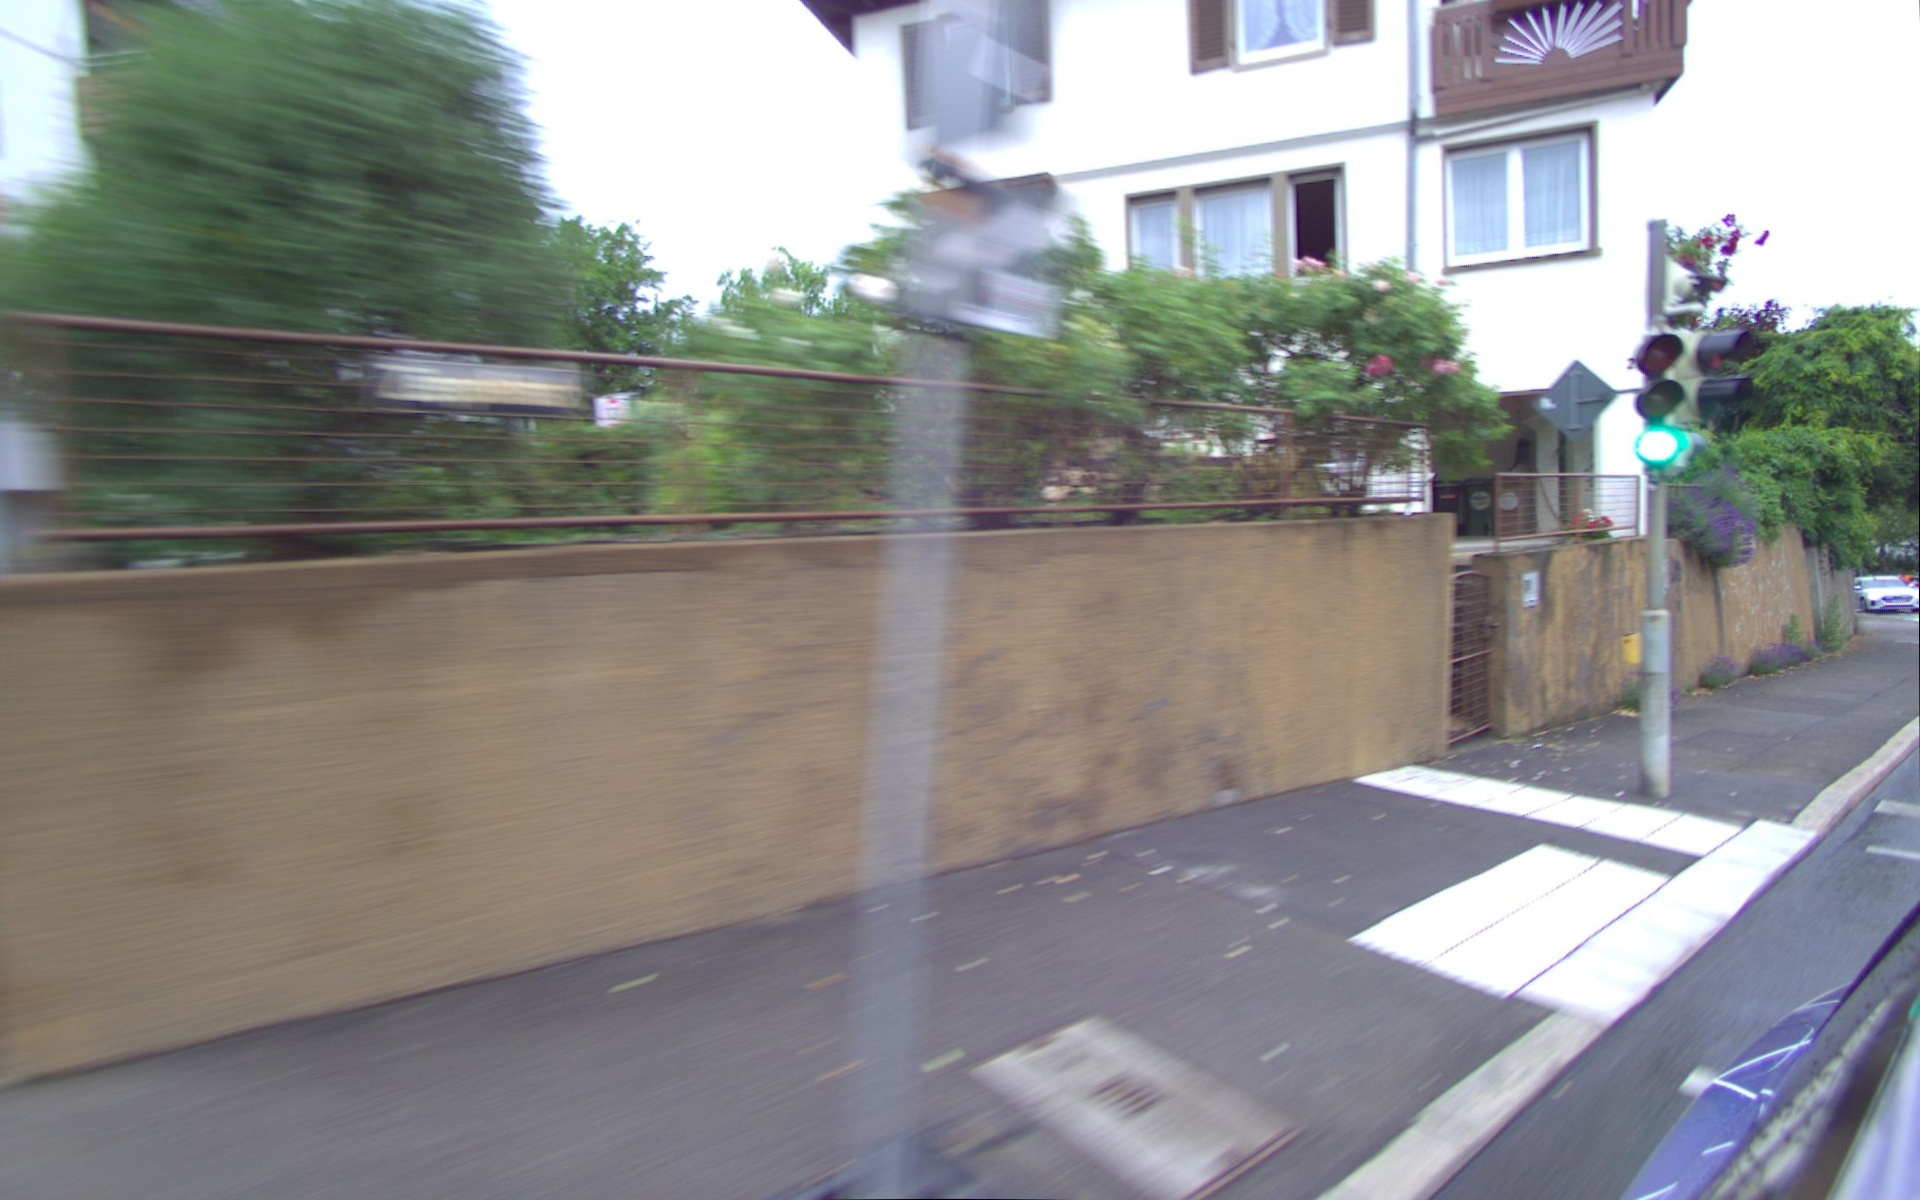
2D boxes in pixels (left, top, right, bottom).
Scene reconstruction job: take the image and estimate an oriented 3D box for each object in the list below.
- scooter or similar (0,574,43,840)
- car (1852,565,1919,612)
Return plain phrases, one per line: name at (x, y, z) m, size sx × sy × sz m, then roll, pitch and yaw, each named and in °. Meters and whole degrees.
scooter or similar at (-4.281, 0.504, 3.514) m, size 0.641 × 1.069 × 1.559 m, roll 1°, pitch 6°, yaw 5°
car at (41.797, -0.538, 45.234) m, size 2.003 × 1.759 × 4.549 m, roll -5°, pitch 0°, yaw 32°
